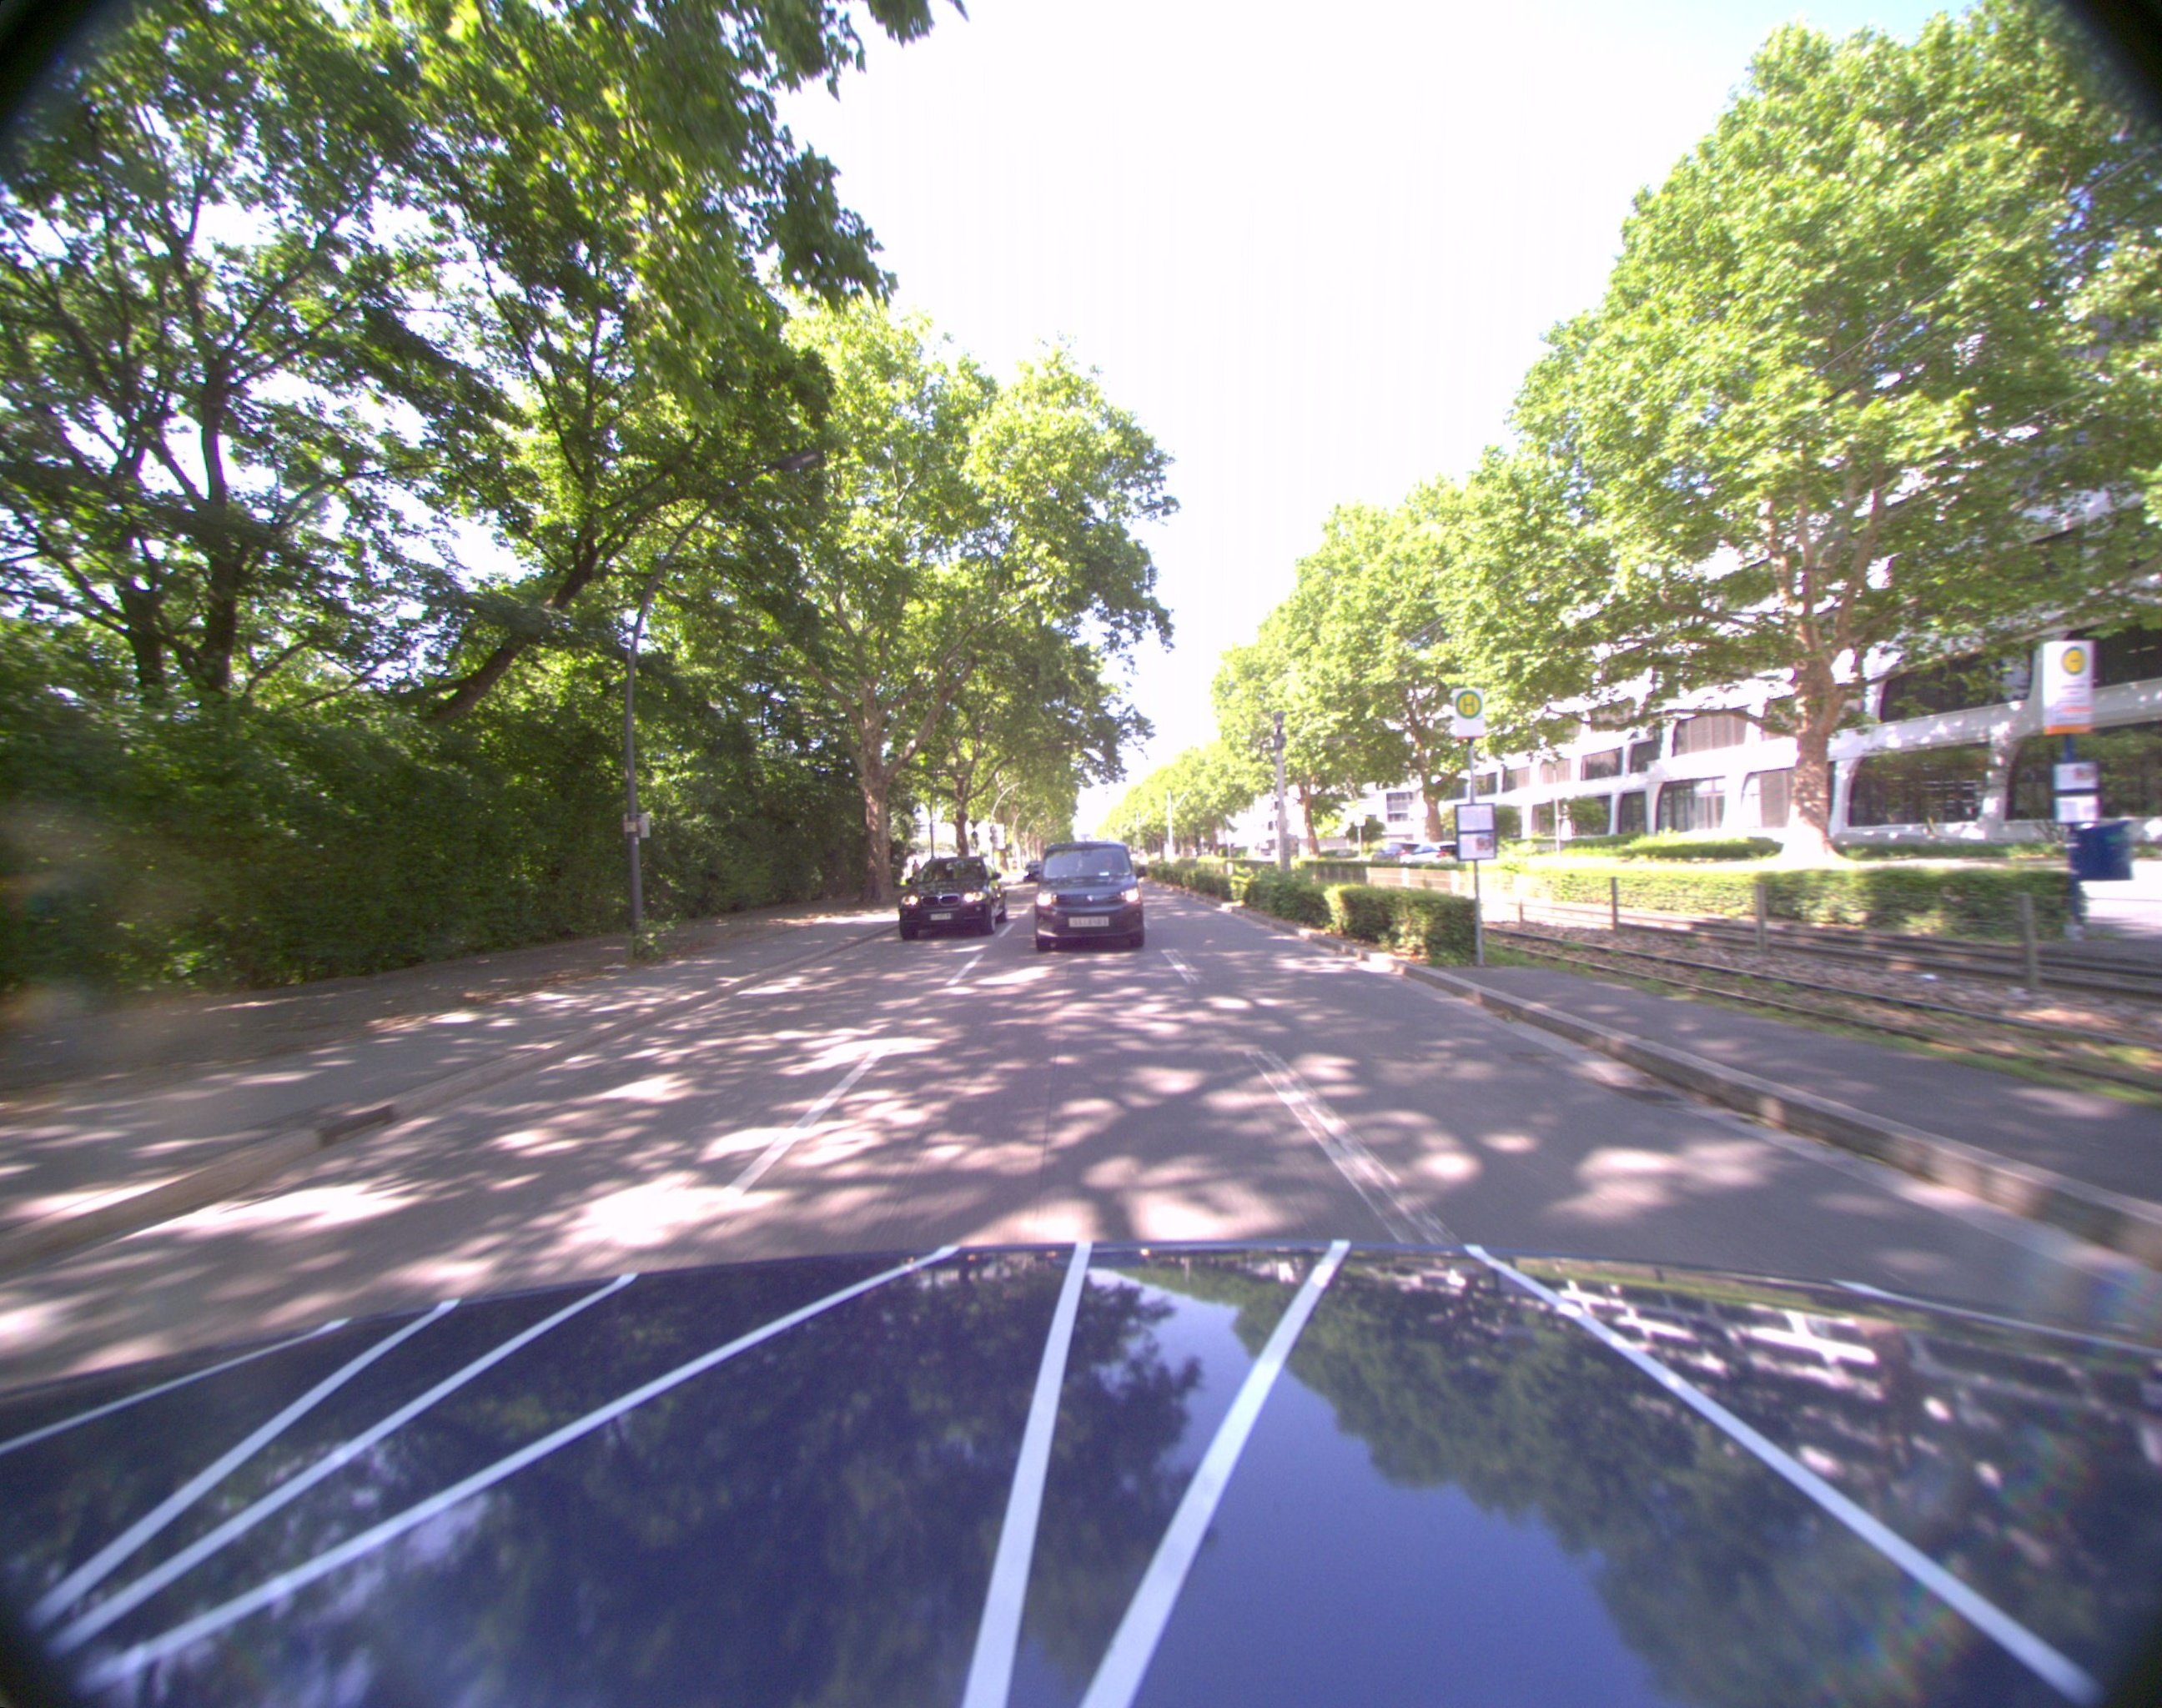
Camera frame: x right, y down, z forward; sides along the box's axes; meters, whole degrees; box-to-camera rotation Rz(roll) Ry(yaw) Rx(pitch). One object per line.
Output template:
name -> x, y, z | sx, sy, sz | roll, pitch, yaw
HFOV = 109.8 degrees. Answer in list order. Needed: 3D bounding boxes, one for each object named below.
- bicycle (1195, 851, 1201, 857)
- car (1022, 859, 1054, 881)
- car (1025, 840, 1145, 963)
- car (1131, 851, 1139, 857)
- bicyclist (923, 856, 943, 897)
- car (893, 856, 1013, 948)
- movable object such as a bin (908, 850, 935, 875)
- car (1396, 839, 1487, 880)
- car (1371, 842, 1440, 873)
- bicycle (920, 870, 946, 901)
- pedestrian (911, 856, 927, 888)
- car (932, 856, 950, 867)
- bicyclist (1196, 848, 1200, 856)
bicycle -> 21.479, -0.022, 139.258 | 0.666, 1.117, 2.031 | -3, 0, 1
car -> -3.039, 1.121, 54.270 | 1.854, 1.418, 4.152 | -3, 0, 1
car -> 0.094, 0.725, 13.678 | 1.789, 1.839, 4.000 | -2, 0, 1
car -> 15.570, 0.049, 219.073 | 1.761, 1.560, 4.019 | -3, 0, 1
bicyclist -> -5.792, 0.869, 29.810 | 0.621, 1.590, 0.732 | -1, 0, -1
car -> -2.768, 0.970, 17.374 | 1.924, 1.720, 4.151 | -3, 0, 0
movable object such as a bin -> -20.702, 1.082, 98.967 | 2.376, 3.054, 5.984 | -3, 0, -3
car -> 15.283, 0.233, 32.497 | 1.815, 1.554, 4.304 | -3, 0, 0
car -> 18.732, 0.206, 44.106 | 1.834, 1.615, 4.896 | -3, 0, 0
bicycle -> -5.797, 1.220, 29.826 | 0.653, 1.123, 1.945 | -1, 0, 0
pedestrian -> -9.347, 1.027, 43.830 | 0.633, 1.775, 0.874 | -3, 1, 0
car -> -38.637, 1.975, 209.485 | 4.375, 2.722, 1.808 | -3, 0, -3
bicyclist -> 21.448, -0.396, 139.162 | 0.656, 1.526, 0.641 | -3, 0, 1
